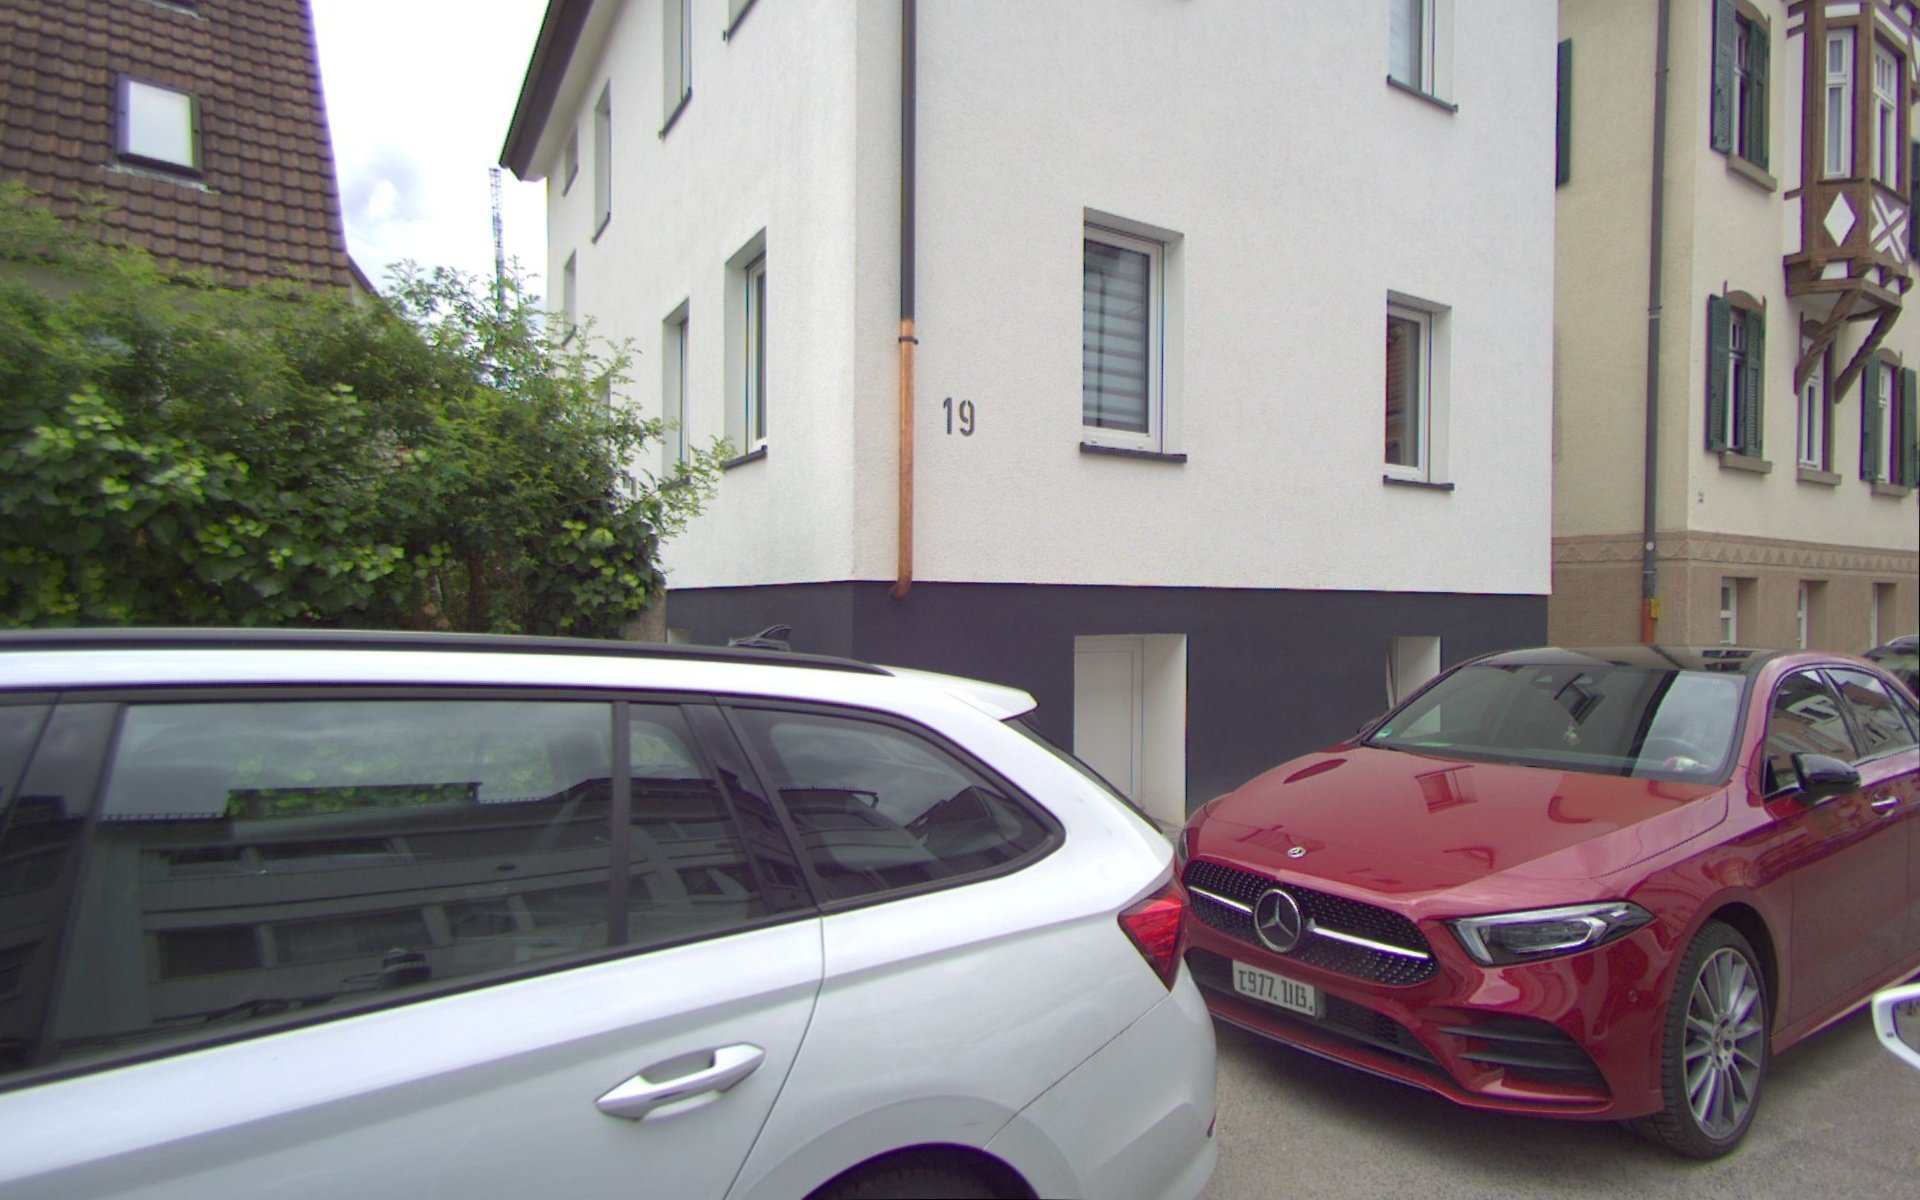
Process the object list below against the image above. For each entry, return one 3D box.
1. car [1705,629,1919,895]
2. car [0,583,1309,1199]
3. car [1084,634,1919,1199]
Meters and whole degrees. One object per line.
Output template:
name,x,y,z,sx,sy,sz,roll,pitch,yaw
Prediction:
car,7.052,0.975,6.914,3.937,1.515,1.759,2,-2,-32
car,-1.481,0.739,1.644,4.254,1.480,1.781,2,-2,-36
car,2.677,0.882,4.204,4.125,1.436,1.759,2,-2,-32
